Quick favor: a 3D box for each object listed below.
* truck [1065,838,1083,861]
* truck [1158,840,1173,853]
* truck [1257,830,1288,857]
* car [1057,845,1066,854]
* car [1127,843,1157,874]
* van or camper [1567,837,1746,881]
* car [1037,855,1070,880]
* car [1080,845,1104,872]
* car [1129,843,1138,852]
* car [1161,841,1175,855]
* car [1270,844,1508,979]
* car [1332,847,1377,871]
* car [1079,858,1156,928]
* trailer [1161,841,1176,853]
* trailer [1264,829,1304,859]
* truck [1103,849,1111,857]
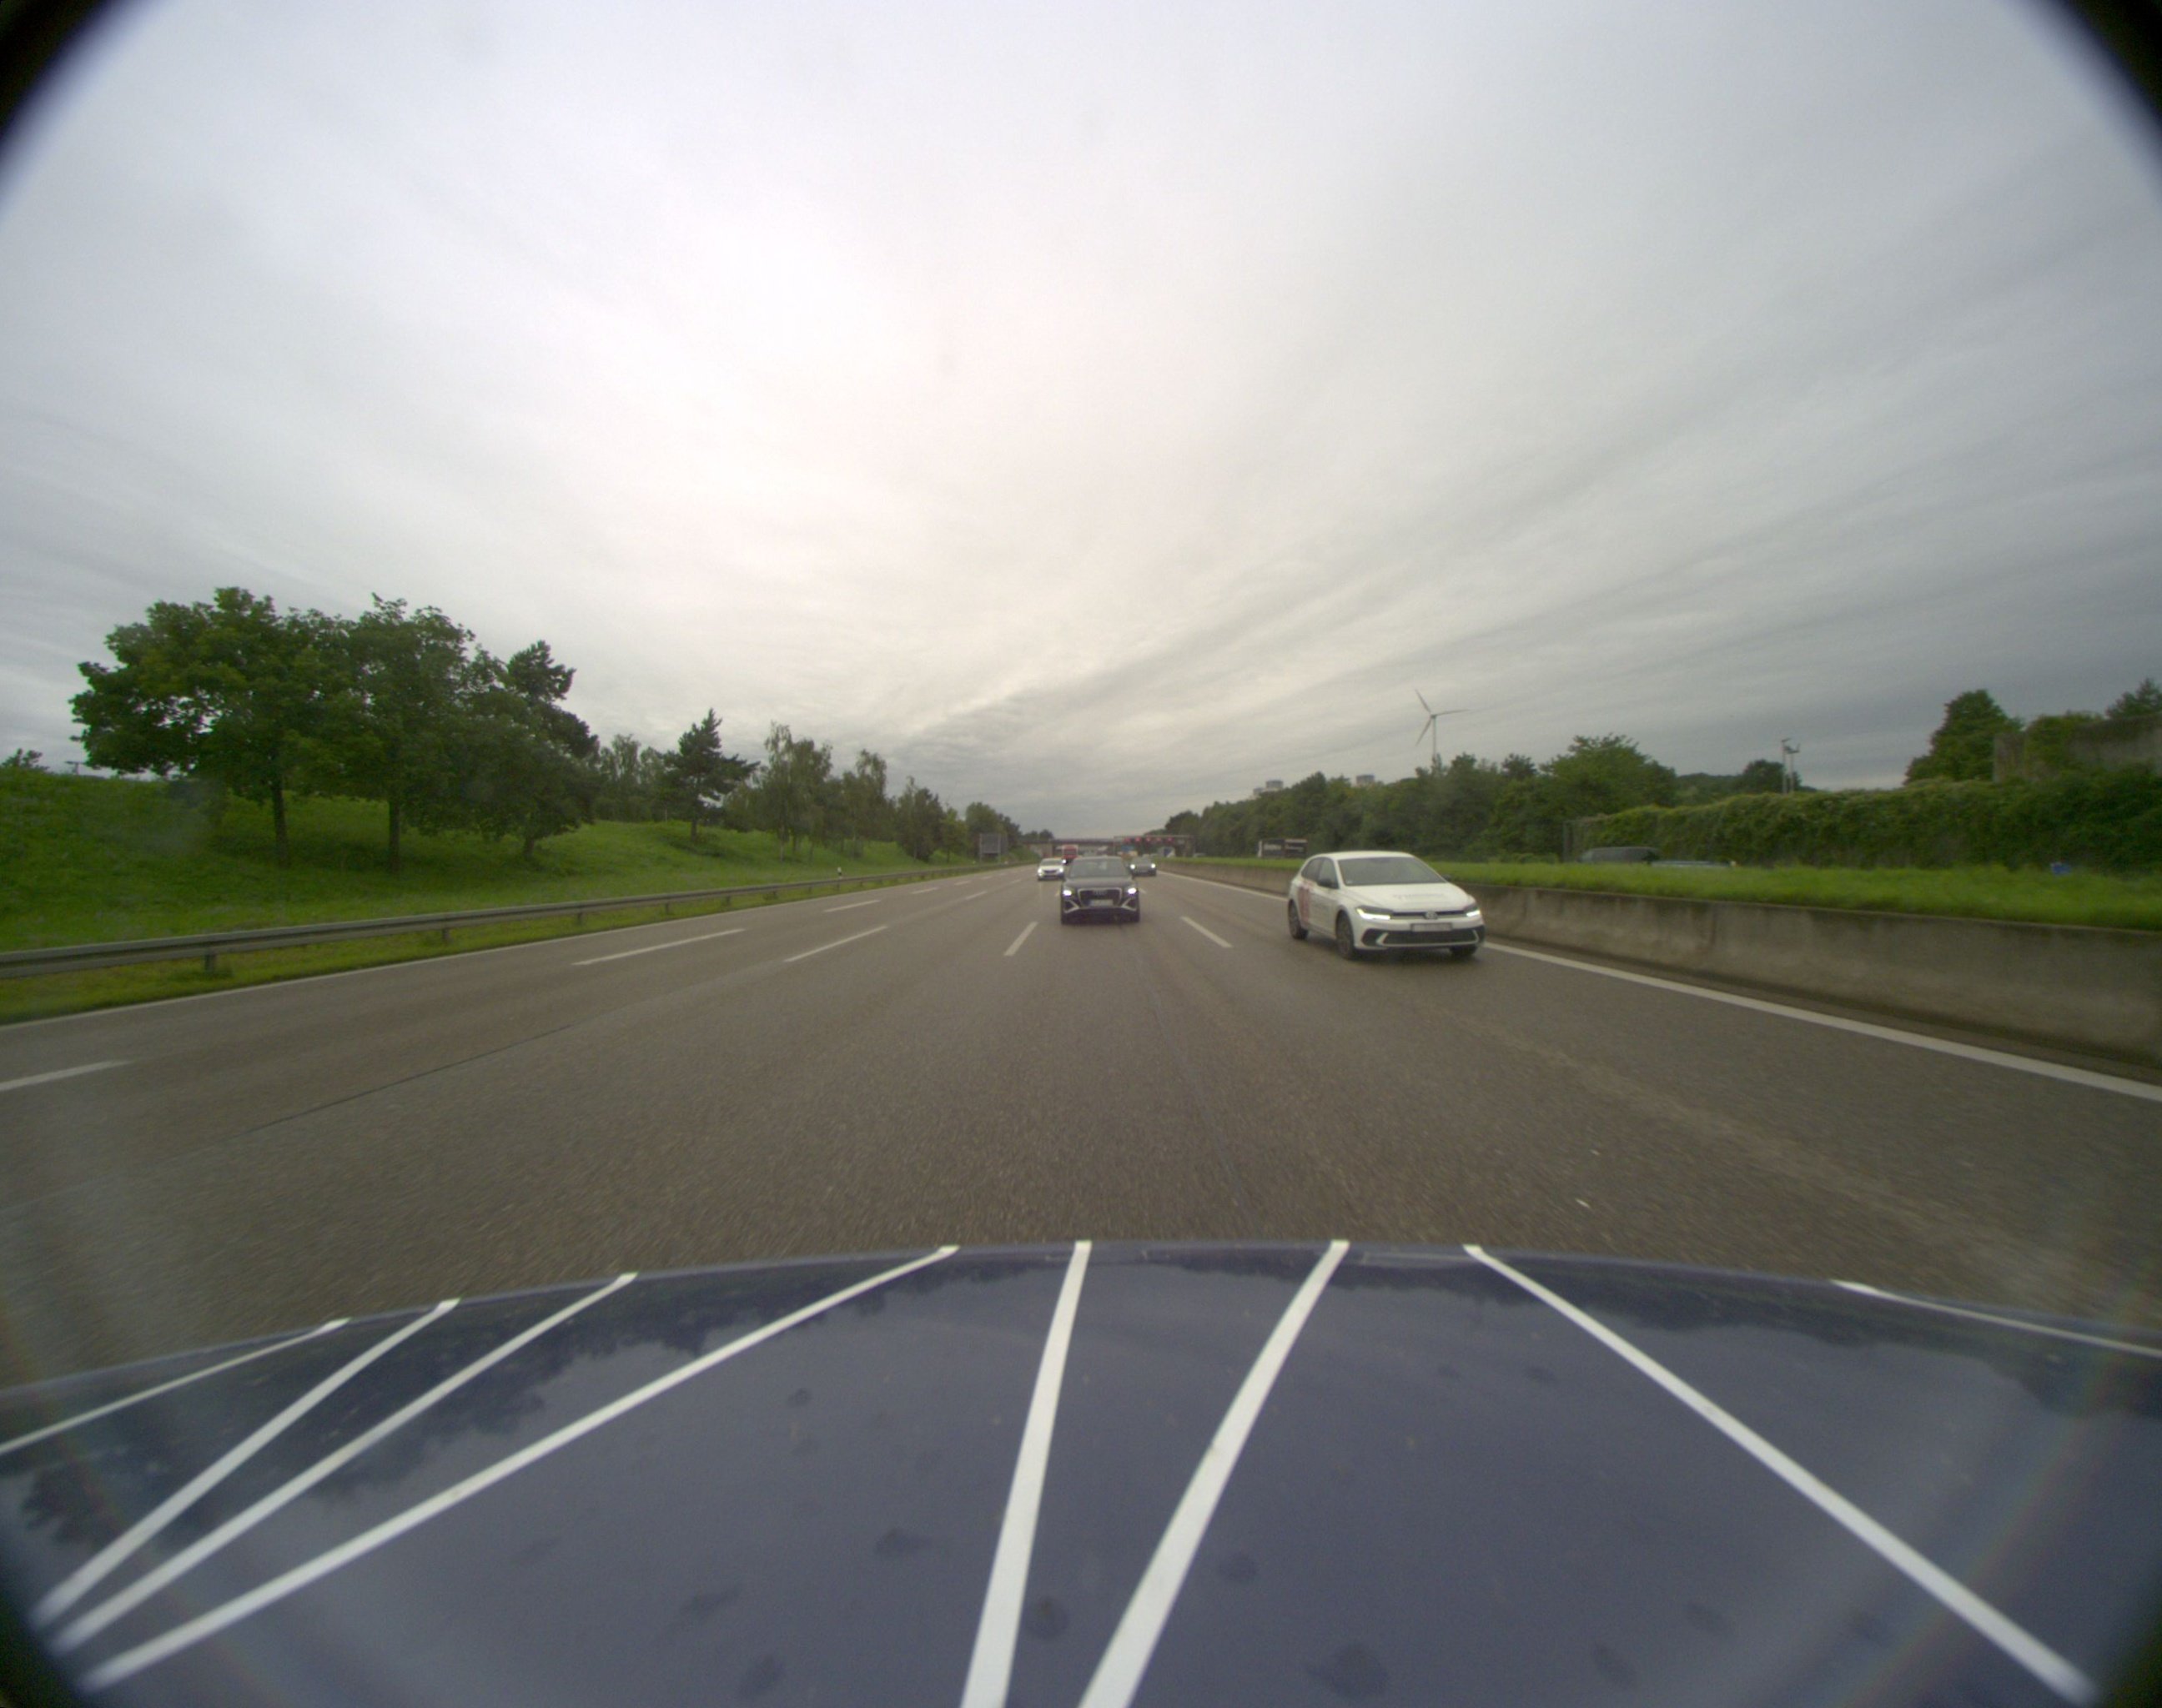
[{"bbox_3d":[-1.119,-0.837,133.343,2.836,3.634,10.670,-2,1,1],"label":"truck"},{"bbox_3d":[22.280,-1.970,201.269,2.891,3.202,11.357,-2,1,2],"label":"truck"},{"bbox_3d":[24.713,-1.333,98.250,2.321,3.254,6.581,-2,1,1],"label":"truck"},{"bbox_3d":[-4.676,-1.007,183.009,1.998,2.002,4.000,-2,1,2],"label":"car"},{"bbox_3d":[4.201,0.272,52.880,1.725,2.002,3.851,-2,1,1],"label":"car"},{"bbox_3d":[27.211,0.153,36.566,2.197,1.790,8.435,-2,1,0],"label":"van or camper"},{"bbox_3d":[-1.811,0.867,51.808,1.998,1.555,4.910,-2,0,1],"label":"car"},{"bbox_3d":[1.222,0.445,84.716,2.459,2.726,8.265,-2,1,1],"label":"car"},{"bbox_3d":[15.123,-1.824,218.627,2.064,2.371,7.322,-2,1,0],"label":"car"},{"bbox_3d":[18.485,-1.291,161.365,2.327,2.719,7.315,-2,1,1],"label":"car"},{"bbox_3d":[4.330,0.688,11.590,1.757,1.608,4.663,-1,0,0],"label":"car"},{"bbox_3d":[20.959,0.353,58.414,1.787,1.623,4.293,-2,1,0],"label":"car"},{"bbox_3d":[0.803,0.847,18.145,1.616,1.403,3.326,-2,1,0],"label":"car"},{"bbox_3d":[22.003,-1.783,191.629,2.784,3.059,7.872,-2,1,1],"label":"trailer"},{"bbox_3d":[24.561,-1.197,92.462,2.312,3.271,10.562,-2,1,2],"label":"trailer"},{"bbox_3d":[6.898,-0.321,204.373,1.998,2.002,4.000,-2,0,1],"label":"truck"}]
